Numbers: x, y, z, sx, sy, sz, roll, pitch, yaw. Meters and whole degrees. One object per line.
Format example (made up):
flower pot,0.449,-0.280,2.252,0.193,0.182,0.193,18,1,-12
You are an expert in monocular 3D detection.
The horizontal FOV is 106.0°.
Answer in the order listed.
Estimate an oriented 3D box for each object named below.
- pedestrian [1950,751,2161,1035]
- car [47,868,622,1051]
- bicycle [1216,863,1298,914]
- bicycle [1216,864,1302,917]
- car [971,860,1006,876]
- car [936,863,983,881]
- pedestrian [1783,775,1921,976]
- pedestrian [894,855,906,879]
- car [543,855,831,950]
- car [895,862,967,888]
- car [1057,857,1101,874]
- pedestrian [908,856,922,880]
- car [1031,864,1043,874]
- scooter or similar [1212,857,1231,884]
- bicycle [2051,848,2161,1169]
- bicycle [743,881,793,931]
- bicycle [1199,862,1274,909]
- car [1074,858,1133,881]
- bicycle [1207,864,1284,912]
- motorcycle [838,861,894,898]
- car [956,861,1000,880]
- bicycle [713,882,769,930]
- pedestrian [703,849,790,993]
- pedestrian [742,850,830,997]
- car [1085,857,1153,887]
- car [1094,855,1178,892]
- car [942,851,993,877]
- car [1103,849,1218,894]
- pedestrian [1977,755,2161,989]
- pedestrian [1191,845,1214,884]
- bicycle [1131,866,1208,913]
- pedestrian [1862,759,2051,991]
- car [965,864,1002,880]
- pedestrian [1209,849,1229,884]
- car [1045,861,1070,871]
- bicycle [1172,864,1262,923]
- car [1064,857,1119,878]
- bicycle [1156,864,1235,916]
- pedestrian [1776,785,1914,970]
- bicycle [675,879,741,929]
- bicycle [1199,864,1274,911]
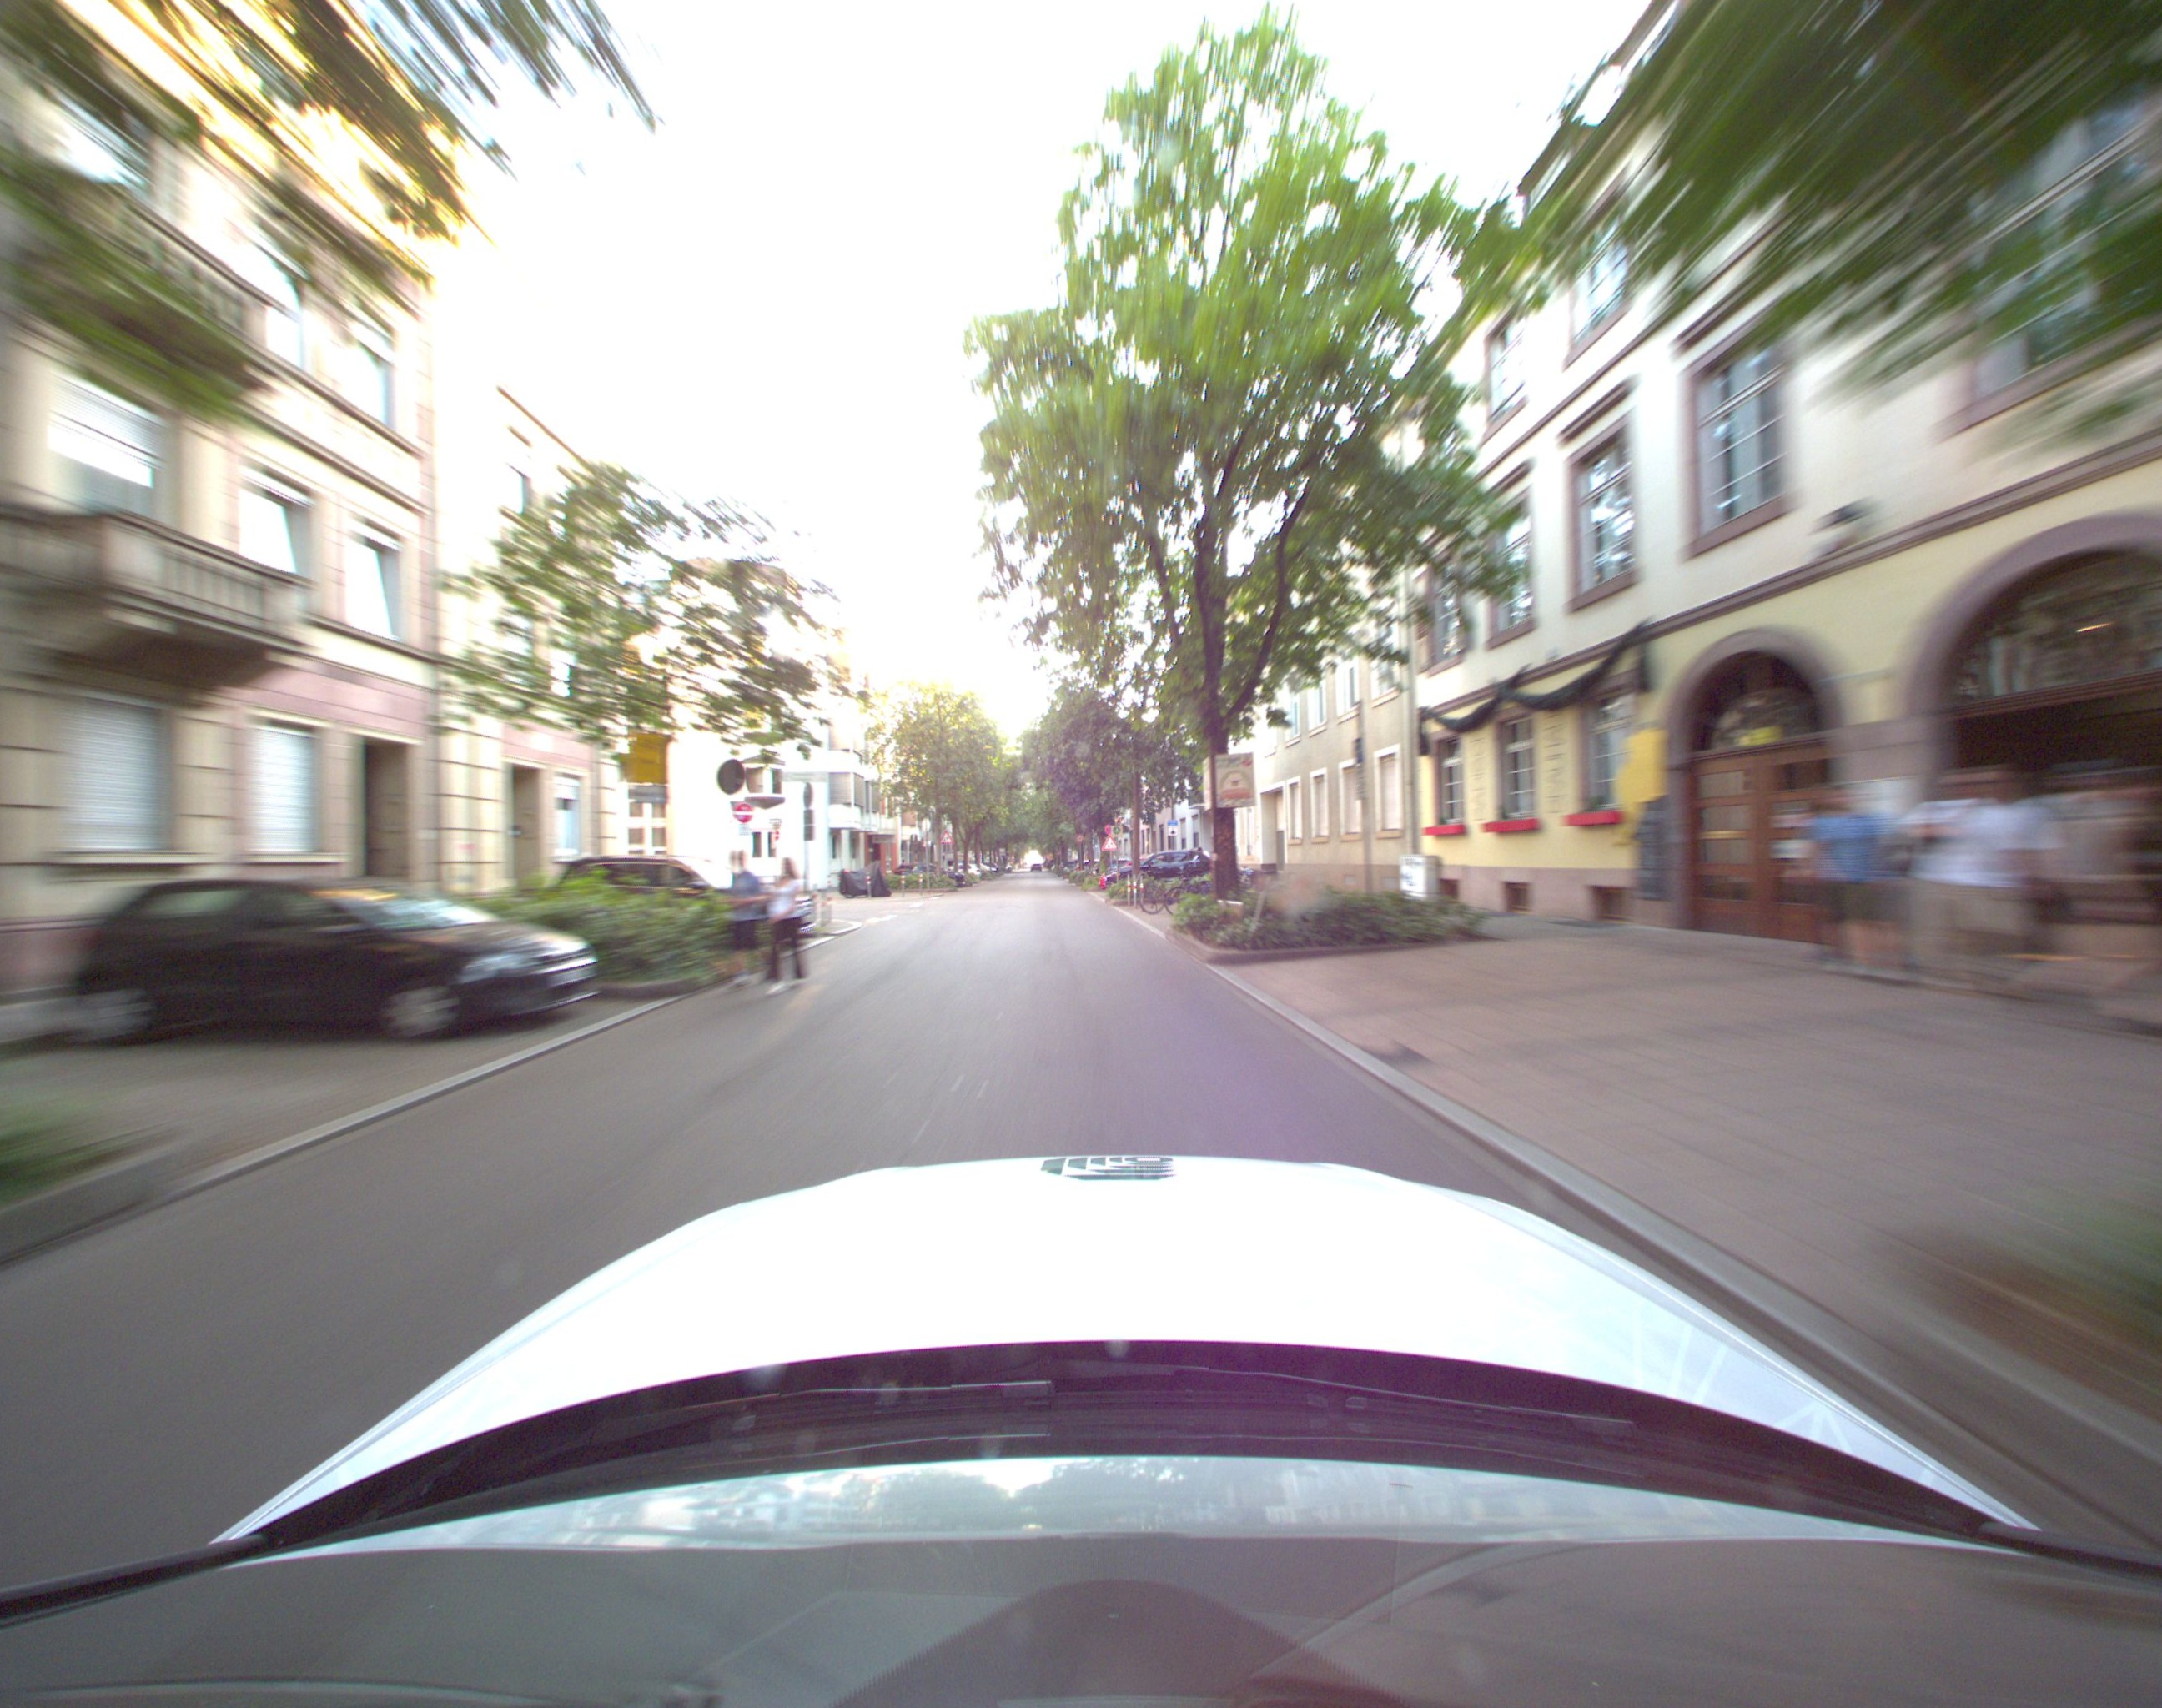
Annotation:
pedestrian,6.546,0.226,5.460,0.709,1.739,0.721,-3,1,-21
car,-6.804,0.893,7.840,3.685,1.458,1.870,0,0,-4
bicycle,4.273,0.819,19.762,1.796,1.143,0.649,-2,0,-12
bicycle,4.130,0.831,18.934,1.794,1.128,0.662,-3,0,-10
car,-13.422,2.030,118.425,4.753,1.984,1.960,-3,-1,-4
car,-10.563,1.534,70.913,3.860,1.486,1.755,-1,-1,-2
pedestrian,7.095,0.184,7.520,0.614,1.739,0.623,-3,1,-4
pedestrian,-13.438,0.943,60.476,0.701,1.728,0.904,-1,-1,-3
car,-7.154,0.852,15.177,4.415,1.651,1.871,0,0,-3
car,-9.173,1.279,50.092,4.120,1.486,1.926,-1,-1,-5
car,-0.193,1.249,86.897,4.494,1.521,1.995,-3,-1,-1
pedestrian,-12.384,1.038,60.642,0.697,1.757,0.743,-1,-1,20
car,-7.547,2.542,139.506,1.952,1.565,4.277,-3,-1,-3
scooter or similar,6.219,0.736,36.099,0.653,1.153,0.830,-2,-1,-3
bicycle,5.141,0.571,3.364,1.796,1.233,0.670,-4,0,-13
bicycle,-7.003,1.141,18.306,0.521,1.059,1.858,2,-2,-6
bicycle,4.159,0.830,21.813,1.796,1.143,0.666,-2,0,-13
car,1.577,1.094,57.734,3.873,1.440,1.843,-3,0,-7
bicycle,4.155,0.843,20.606,1.794,1.107,0.498,-3,0,-9
motorcycle,-9.070,1.066,34.340,2.217,1.481,0.853,-1,0,-22
car,-11.577,1.802,91.653,4.673,1.854,1.960,-3,-1,-4
bicycle,-7.599,1.139,18.270,0.521,1.019,1.859,2,-2,-3
pedestrian,-4.265,0.825,10.441,0.794,1.737,0.829,-2,-1,-9
pedestrian,-3.562,0.808,9.912,0.794,1.670,0.829,-2,-1,-9
car,2.090,0.962,44.955,3.479,1.452,1.896,-3,0,-6
car,2.414,0.842,36.438,3.479,1.452,1.896,-3,0,-6
car,-11.021,0.966,79.248,4.673,2.478,1.997,-1,-1,-4
car,3.163,0.688,33.171,4.415,1.656,1.898,-2,0,-3
pedestrian,7.920,0.138,6.515,0.719,1.739,0.749,-3,1,23
pedestrian,5.414,0.469,36.245,0.694,1.737,0.667,-2,-1,-35
bicycle,2.325,0.918,21.432,1.840,1.135,0.741,-2,0,-14
pedestrian,7.017,0.164,6.573,0.706,1.739,0.751,-3,1,16
car,-11.879,2.175,99.358,4.195,1.635,1.960,-3,-1,-4
pedestrian,6.189,0.559,36.580,0.653,1.536,0.830,-2,-1,-3
car,-4.117,2.120,142.754,4.260,1.565,1.960,-3,-1,-4
bicycle,2.983,0.857,17.942,1.826,1.178,0.672,-3,0,-5
car,0.893,1.139,71.587,4.705,1.710,1.948,-1,0,-2
bicycle,2.817,0.868,20.137,1.826,1.178,0.600,-3,0,-5
pedestrian,7.669,0.217,8.188,0.779,1.739,0.680,-3,1,-20
bicycle,-8.326,1.100,18.278,0.667,1.063,1.859,2,-2,-3
bicycle,4.024,0.851,21.117,1.794,1.107,0.498,-3,0,-9
